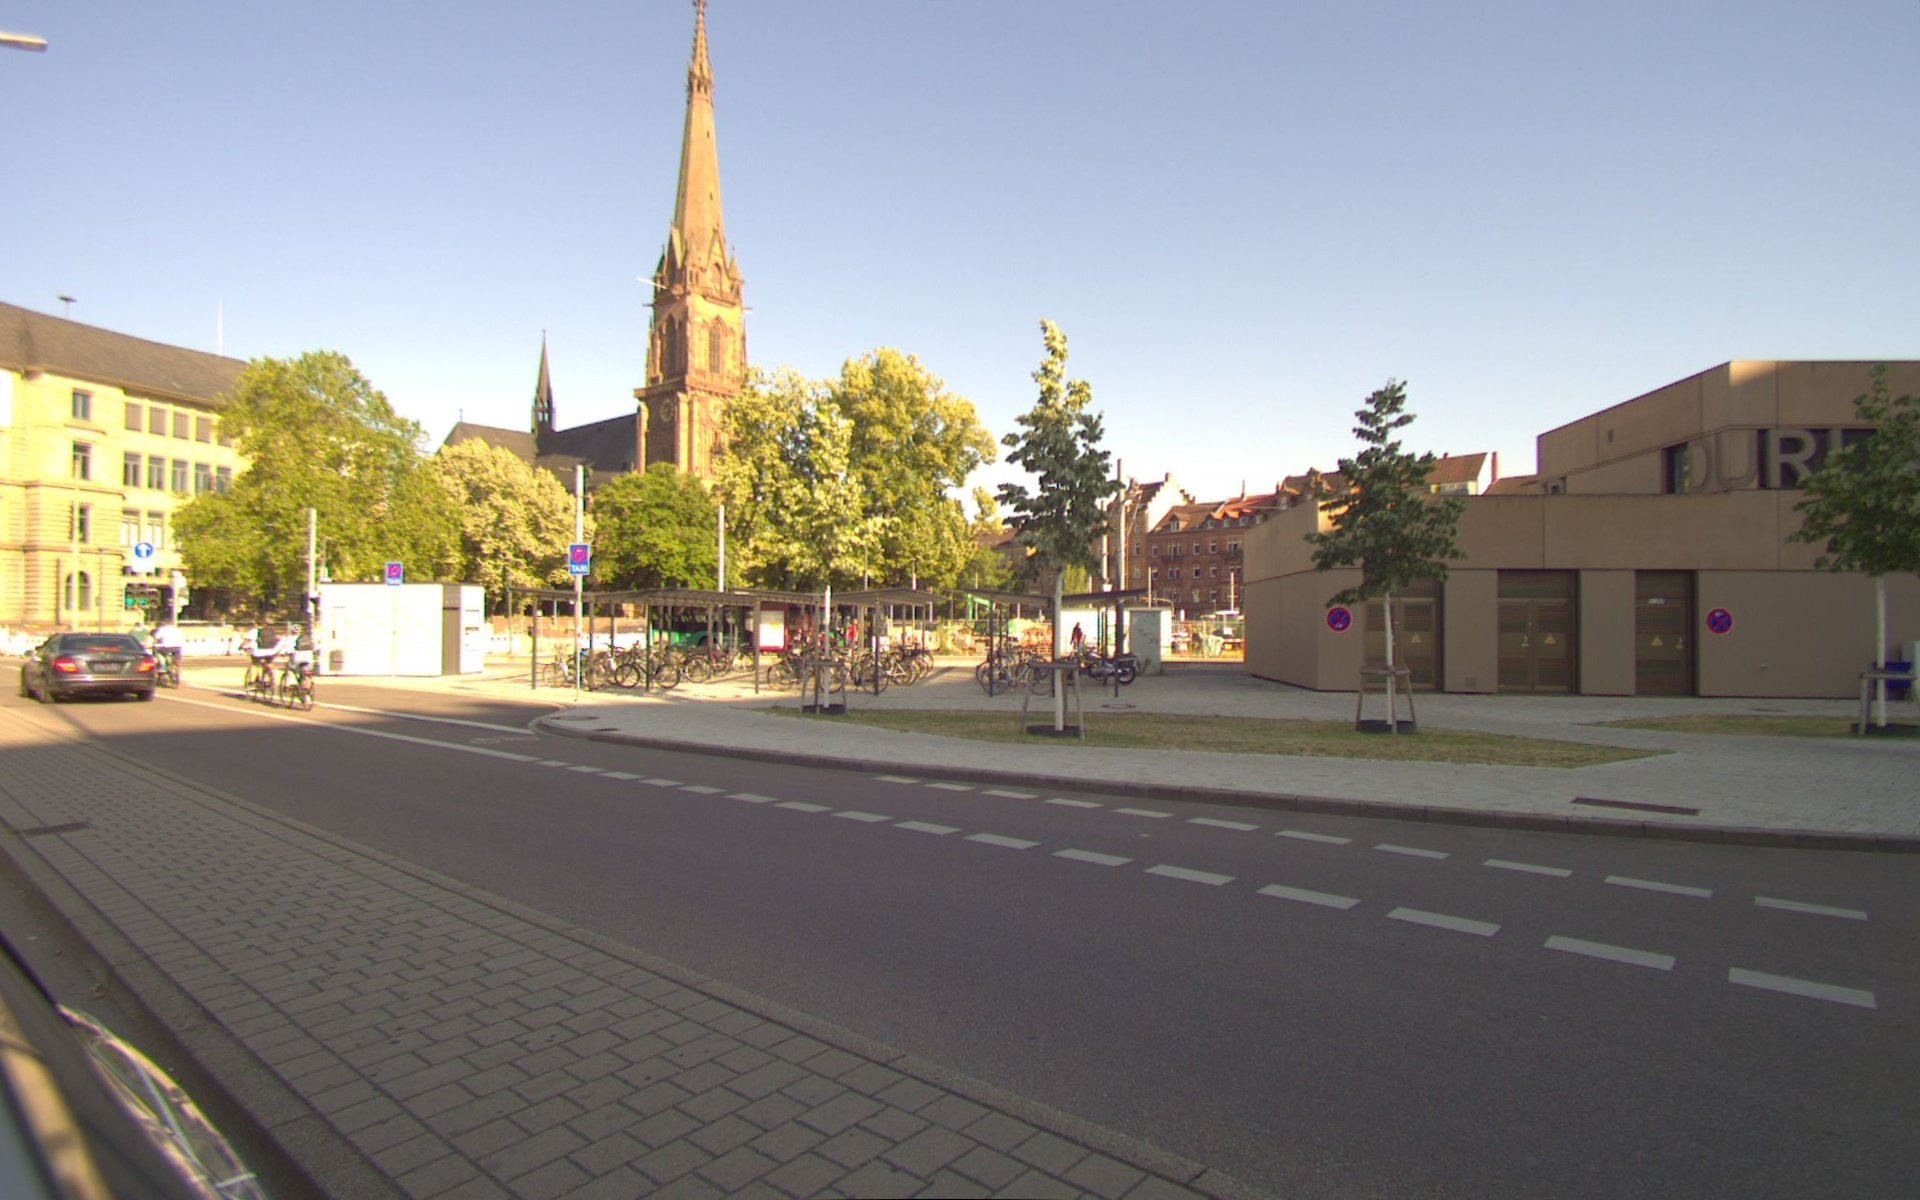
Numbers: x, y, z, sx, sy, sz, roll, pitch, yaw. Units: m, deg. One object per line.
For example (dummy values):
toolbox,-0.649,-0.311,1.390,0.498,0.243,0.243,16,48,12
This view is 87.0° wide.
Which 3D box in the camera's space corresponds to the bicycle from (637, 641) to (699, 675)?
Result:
bicycle,-9.596,1.895,33.220,1.949,1.062,0.417,1,0,7

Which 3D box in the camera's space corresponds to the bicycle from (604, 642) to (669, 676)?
bicycle,-10.455,1.910,32.737,1.947,1.062,0.497,1,0,2

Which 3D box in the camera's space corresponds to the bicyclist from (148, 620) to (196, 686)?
bicyclist,-20.298,1.341,26.071,0.853,1.666,0.945,2,-2,-43

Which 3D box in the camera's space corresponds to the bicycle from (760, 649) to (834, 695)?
bicycle,-4.087,1.807,25.401,1.776,1.114,0.485,1,0,-1

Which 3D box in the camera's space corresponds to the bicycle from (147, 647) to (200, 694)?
bicycle,-20.126,1.781,25.881,0.869,1.105,2.191,2,-2,-43

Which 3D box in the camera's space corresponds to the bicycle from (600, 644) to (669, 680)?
bicycle,-9.942,1.904,30.980,1.945,1.062,0.511,1,0,-2

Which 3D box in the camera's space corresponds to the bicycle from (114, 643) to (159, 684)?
bicycle,-24.192,1.840,29.712,0.869,1.105,2.191,2,-2,-43

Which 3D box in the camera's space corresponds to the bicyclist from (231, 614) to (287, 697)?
bicyclist,-14.766,1.134,21.311,1.062,1.681,0.754,-1,0,43

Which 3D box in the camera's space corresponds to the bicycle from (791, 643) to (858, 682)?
bicycle,-4.030,1.867,30.205,1.907,1.097,0.536,1,0,5

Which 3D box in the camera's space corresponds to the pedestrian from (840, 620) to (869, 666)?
pedestrian,-4.745,1.918,45.622,1.018,2.029,1.132,-1,0,8

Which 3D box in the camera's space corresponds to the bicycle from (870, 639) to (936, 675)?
bicycle,-1.815,1.829,32.408,2.045,1.097,0.566,1,0,5

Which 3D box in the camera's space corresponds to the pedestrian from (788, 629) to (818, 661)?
pedestrian,-7.028,2.001,45.345,1.066,1.359,1.051,-1,0,8

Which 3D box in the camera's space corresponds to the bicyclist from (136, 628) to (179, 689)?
bicyclist,-22.314,1.606,28.137,0.853,1.666,0.945,2,-2,-41

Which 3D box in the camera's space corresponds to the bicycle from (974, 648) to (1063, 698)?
bicycle,1.402,1.755,24.504,2.096,1.114,0.744,-1,0,2

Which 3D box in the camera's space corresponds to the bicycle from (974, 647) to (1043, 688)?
bicycle,1.295,1.808,27.246,1.822,1.051,0.523,1,0,1

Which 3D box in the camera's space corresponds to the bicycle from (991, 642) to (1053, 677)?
bicycle,1.954,1.881,31.917,1.907,1.051,0.522,1,0,5

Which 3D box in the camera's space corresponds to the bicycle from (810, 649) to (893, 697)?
bicycle,-2.658,1.782,24.881,1.949,1.114,0.566,1,0,6

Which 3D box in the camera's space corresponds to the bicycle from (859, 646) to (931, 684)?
bicycle,-1.923,1.914,29.995,2.080,1.051,0.604,1,0,4

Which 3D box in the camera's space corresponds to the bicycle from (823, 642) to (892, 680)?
bicycle,-3.176,1.886,31.327,2.045,1.097,0.566,1,0,5

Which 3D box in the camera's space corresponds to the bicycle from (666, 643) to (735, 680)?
bicycle,-7.862,1.864,30.706,1.947,1.062,0.566,1,0,3

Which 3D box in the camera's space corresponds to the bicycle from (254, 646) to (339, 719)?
bicycle,-12.555,1.511,19.099,2.606,1.196,0.754,-1,0,44

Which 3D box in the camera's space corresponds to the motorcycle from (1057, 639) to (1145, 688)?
motorcycle,3.805,1.721,27.446,2.328,1.257,0.718,-1,0,8

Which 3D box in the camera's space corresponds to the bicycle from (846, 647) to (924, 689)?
bicycle,-2.024,1.837,27.372,2.009,1.051,0.603,1,0,6

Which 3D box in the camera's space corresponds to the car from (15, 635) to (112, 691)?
car,-23.583,1.607,26.602,3.501,1.348,1.366,-1,-2,40

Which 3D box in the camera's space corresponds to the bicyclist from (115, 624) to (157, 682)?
bicyclist,-24.198,1.549,29.715,0.853,1.666,0.945,2,-2,-43

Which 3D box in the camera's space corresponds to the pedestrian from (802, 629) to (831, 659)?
pedestrian,-6.660,2.029,46.945,1.066,1.359,1.051,-1,0,8

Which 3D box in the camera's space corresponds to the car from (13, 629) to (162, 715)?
car,-18.139,1.408,20.984,3.976,1.455,1.782,1,0,41

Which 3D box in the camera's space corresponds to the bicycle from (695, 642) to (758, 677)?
bicycle,-7.572,1.934,32.827,1.949,1.062,0.417,1,0,7

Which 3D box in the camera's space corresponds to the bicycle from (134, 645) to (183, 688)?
bicycle,-22.253,1.813,28.076,0.869,1.105,2.191,2,-2,-43

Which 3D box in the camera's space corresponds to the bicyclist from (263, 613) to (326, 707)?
bicyclist,-12.535,1.101,19.060,1.062,1.681,0.754,-1,0,43

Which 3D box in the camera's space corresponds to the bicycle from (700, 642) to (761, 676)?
bicycle,-7.536,1.932,33.252,1.949,1.062,0.417,1,0,7

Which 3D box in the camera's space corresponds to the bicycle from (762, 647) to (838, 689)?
bicycle,-4.321,1.831,27.441,1.906,1.051,0.865,1,0,3

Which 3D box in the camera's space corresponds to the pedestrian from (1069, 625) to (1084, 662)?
pedestrian,5.350,1.996,46.381,0.484,1.699,0.538,-1,-2,42

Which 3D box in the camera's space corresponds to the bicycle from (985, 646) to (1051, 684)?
bicycle,1.700,1.889,29.635,1.907,1.051,0.522,1,0,5

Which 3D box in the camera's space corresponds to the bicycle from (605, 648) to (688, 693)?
bicycle,-7.996,1.795,25.806,1.947,1.062,0.566,1,0,3

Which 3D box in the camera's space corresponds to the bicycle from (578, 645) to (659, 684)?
bicycle,-9.989,1.884,29.674,2.092,1.062,0.837,1,0,4

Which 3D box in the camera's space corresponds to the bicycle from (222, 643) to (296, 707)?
bicycle,-14.806,1.544,21.348,2.606,1.196,0.754,-1,0,44

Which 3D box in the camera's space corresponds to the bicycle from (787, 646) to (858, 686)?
bicycle,-3.918,1.870,28.855,1.906,1.051,0.766,1,0,3

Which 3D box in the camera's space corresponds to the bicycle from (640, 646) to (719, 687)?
bicycle,-7.723,1.826,27.922,1.949,1.062,0.757,1,0,6

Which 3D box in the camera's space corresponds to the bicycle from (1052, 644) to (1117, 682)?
bicycle,3.618,1.838,29.413,1.823,1.051,0.523,1,0,2

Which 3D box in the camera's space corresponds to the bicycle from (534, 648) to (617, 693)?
bicycle,-9.707,1.765,25.531,1.952,1.062,0.565,1,0,11

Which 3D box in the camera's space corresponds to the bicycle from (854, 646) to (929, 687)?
bicycle,-1.916,1.866,28.483,2.011,1.051,0.602,1,0,9

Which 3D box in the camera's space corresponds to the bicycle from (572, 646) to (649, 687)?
bicycle,-9.695,1.826,28.059,1.913,1.062,0.681,1,0,6

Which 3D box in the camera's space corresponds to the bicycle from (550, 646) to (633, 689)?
bicycle,-9.864,1.789,27.101,1.998,1.062,0.681,1,0,6
